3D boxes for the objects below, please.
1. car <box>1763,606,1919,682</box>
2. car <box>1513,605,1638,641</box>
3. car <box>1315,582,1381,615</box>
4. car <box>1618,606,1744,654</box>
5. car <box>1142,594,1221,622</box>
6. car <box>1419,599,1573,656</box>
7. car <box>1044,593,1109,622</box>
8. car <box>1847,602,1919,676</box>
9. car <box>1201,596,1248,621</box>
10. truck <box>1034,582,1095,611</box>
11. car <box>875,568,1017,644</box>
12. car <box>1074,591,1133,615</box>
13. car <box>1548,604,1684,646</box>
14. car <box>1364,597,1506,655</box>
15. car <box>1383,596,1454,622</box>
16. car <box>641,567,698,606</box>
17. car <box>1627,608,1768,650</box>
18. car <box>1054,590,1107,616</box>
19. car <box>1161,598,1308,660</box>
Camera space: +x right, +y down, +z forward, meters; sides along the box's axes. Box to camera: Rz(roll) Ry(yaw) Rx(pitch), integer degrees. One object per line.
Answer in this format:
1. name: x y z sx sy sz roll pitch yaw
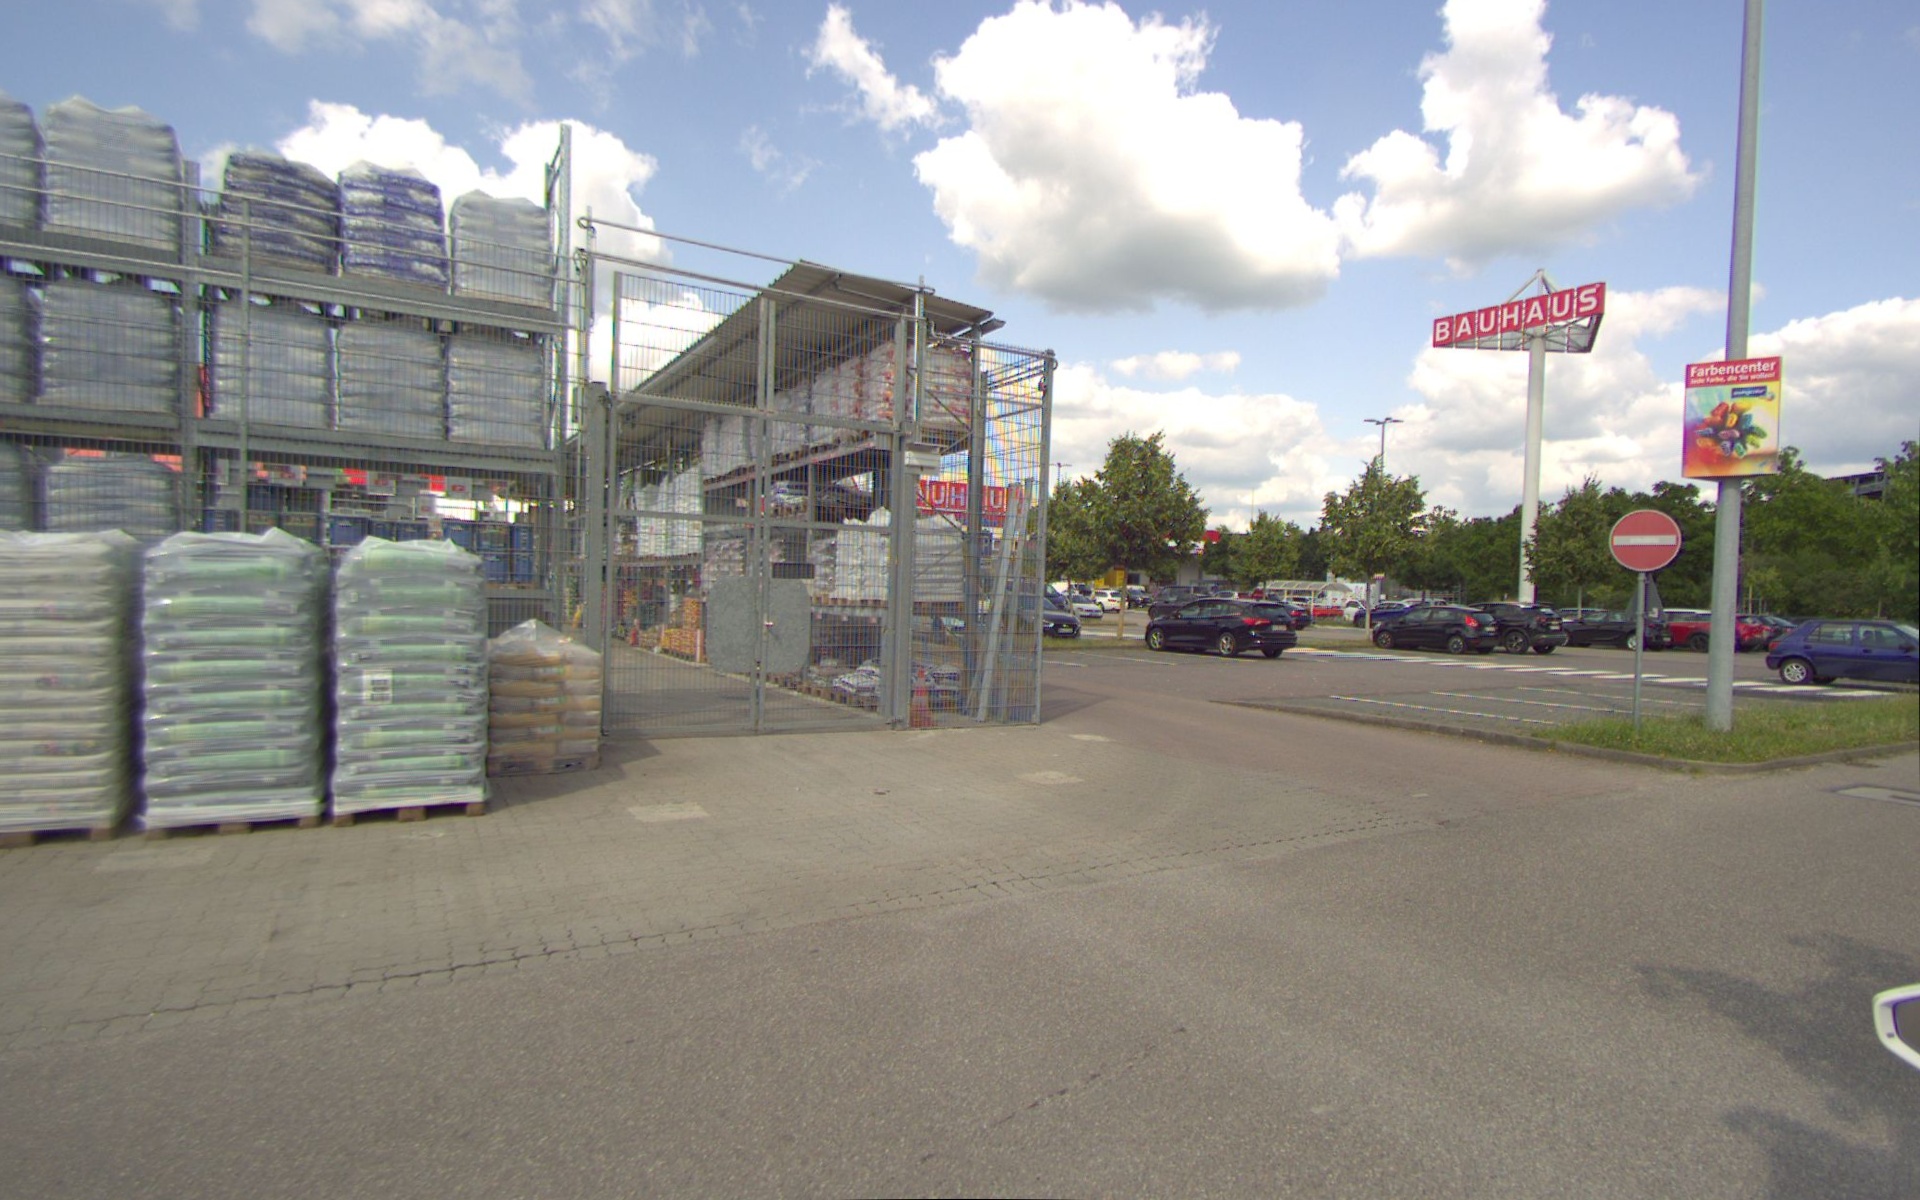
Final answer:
1. car: 18.699 0.873 20.122 1.602 1.386 3.733 1 1 -29
2. car: 26.617 0.987 43.567 1.873 1.371 4.243 1 1 -32
3. car: 31.346 -0.154 81.263 2.029 2.543 4.691 2 0 -29
4. car: 26.816 1.089 37.465 1.691 1.602 3.417 1 1 -32
5. car: 12.676 0.429 57.795 1.977 1.487 4.380 1 1 -30
6. car: 17.338 0.850 32.675 1.763 1.646 4.049 1 1 -31
7. car: 6.101 0.381 53.010 1.721 1.405 3.536 1 1 -27
8. car: 22.921 0.929 22.702 1.714 1.646 3.934 1 1 -27
9. car: 19.583 0.605 74.424 1.584 1.767 3.140 0 1 -31
10. truck: 7.912 -0.291 76.428 1.838 2.040 5.368 5 -1 -28
11. car: -0.541 0.126 29.680 1.976 2.041 5.146 1 1 -29
12. car: 9.710 0.171 68.364 1.976 1.529 3.968 1 1 -30
13. car: 24.197 0.900 37.200 1.709 1.387 3.851 1 1 -31
14. car: 15.042 0.786 31.963 1.766 1.646 3.670 1 1 -35
15. car: 30.604 0.568 67.137 1.889 1.617 3.966 1 1 -31
16. car: -16.850 -0.782 58.136 1.977 2.040 4.769 5 -1 -30
17. car: 28.749 1.095 39.271 1.747 1.417 4.053 1 1 -32
18. car: 7.872 0.198 65.835 1.709 1.528 3.209 5 -1 -31
19. car: 7.038 0.703 26.041 1.792 1.423 3.325 1 1 -33
